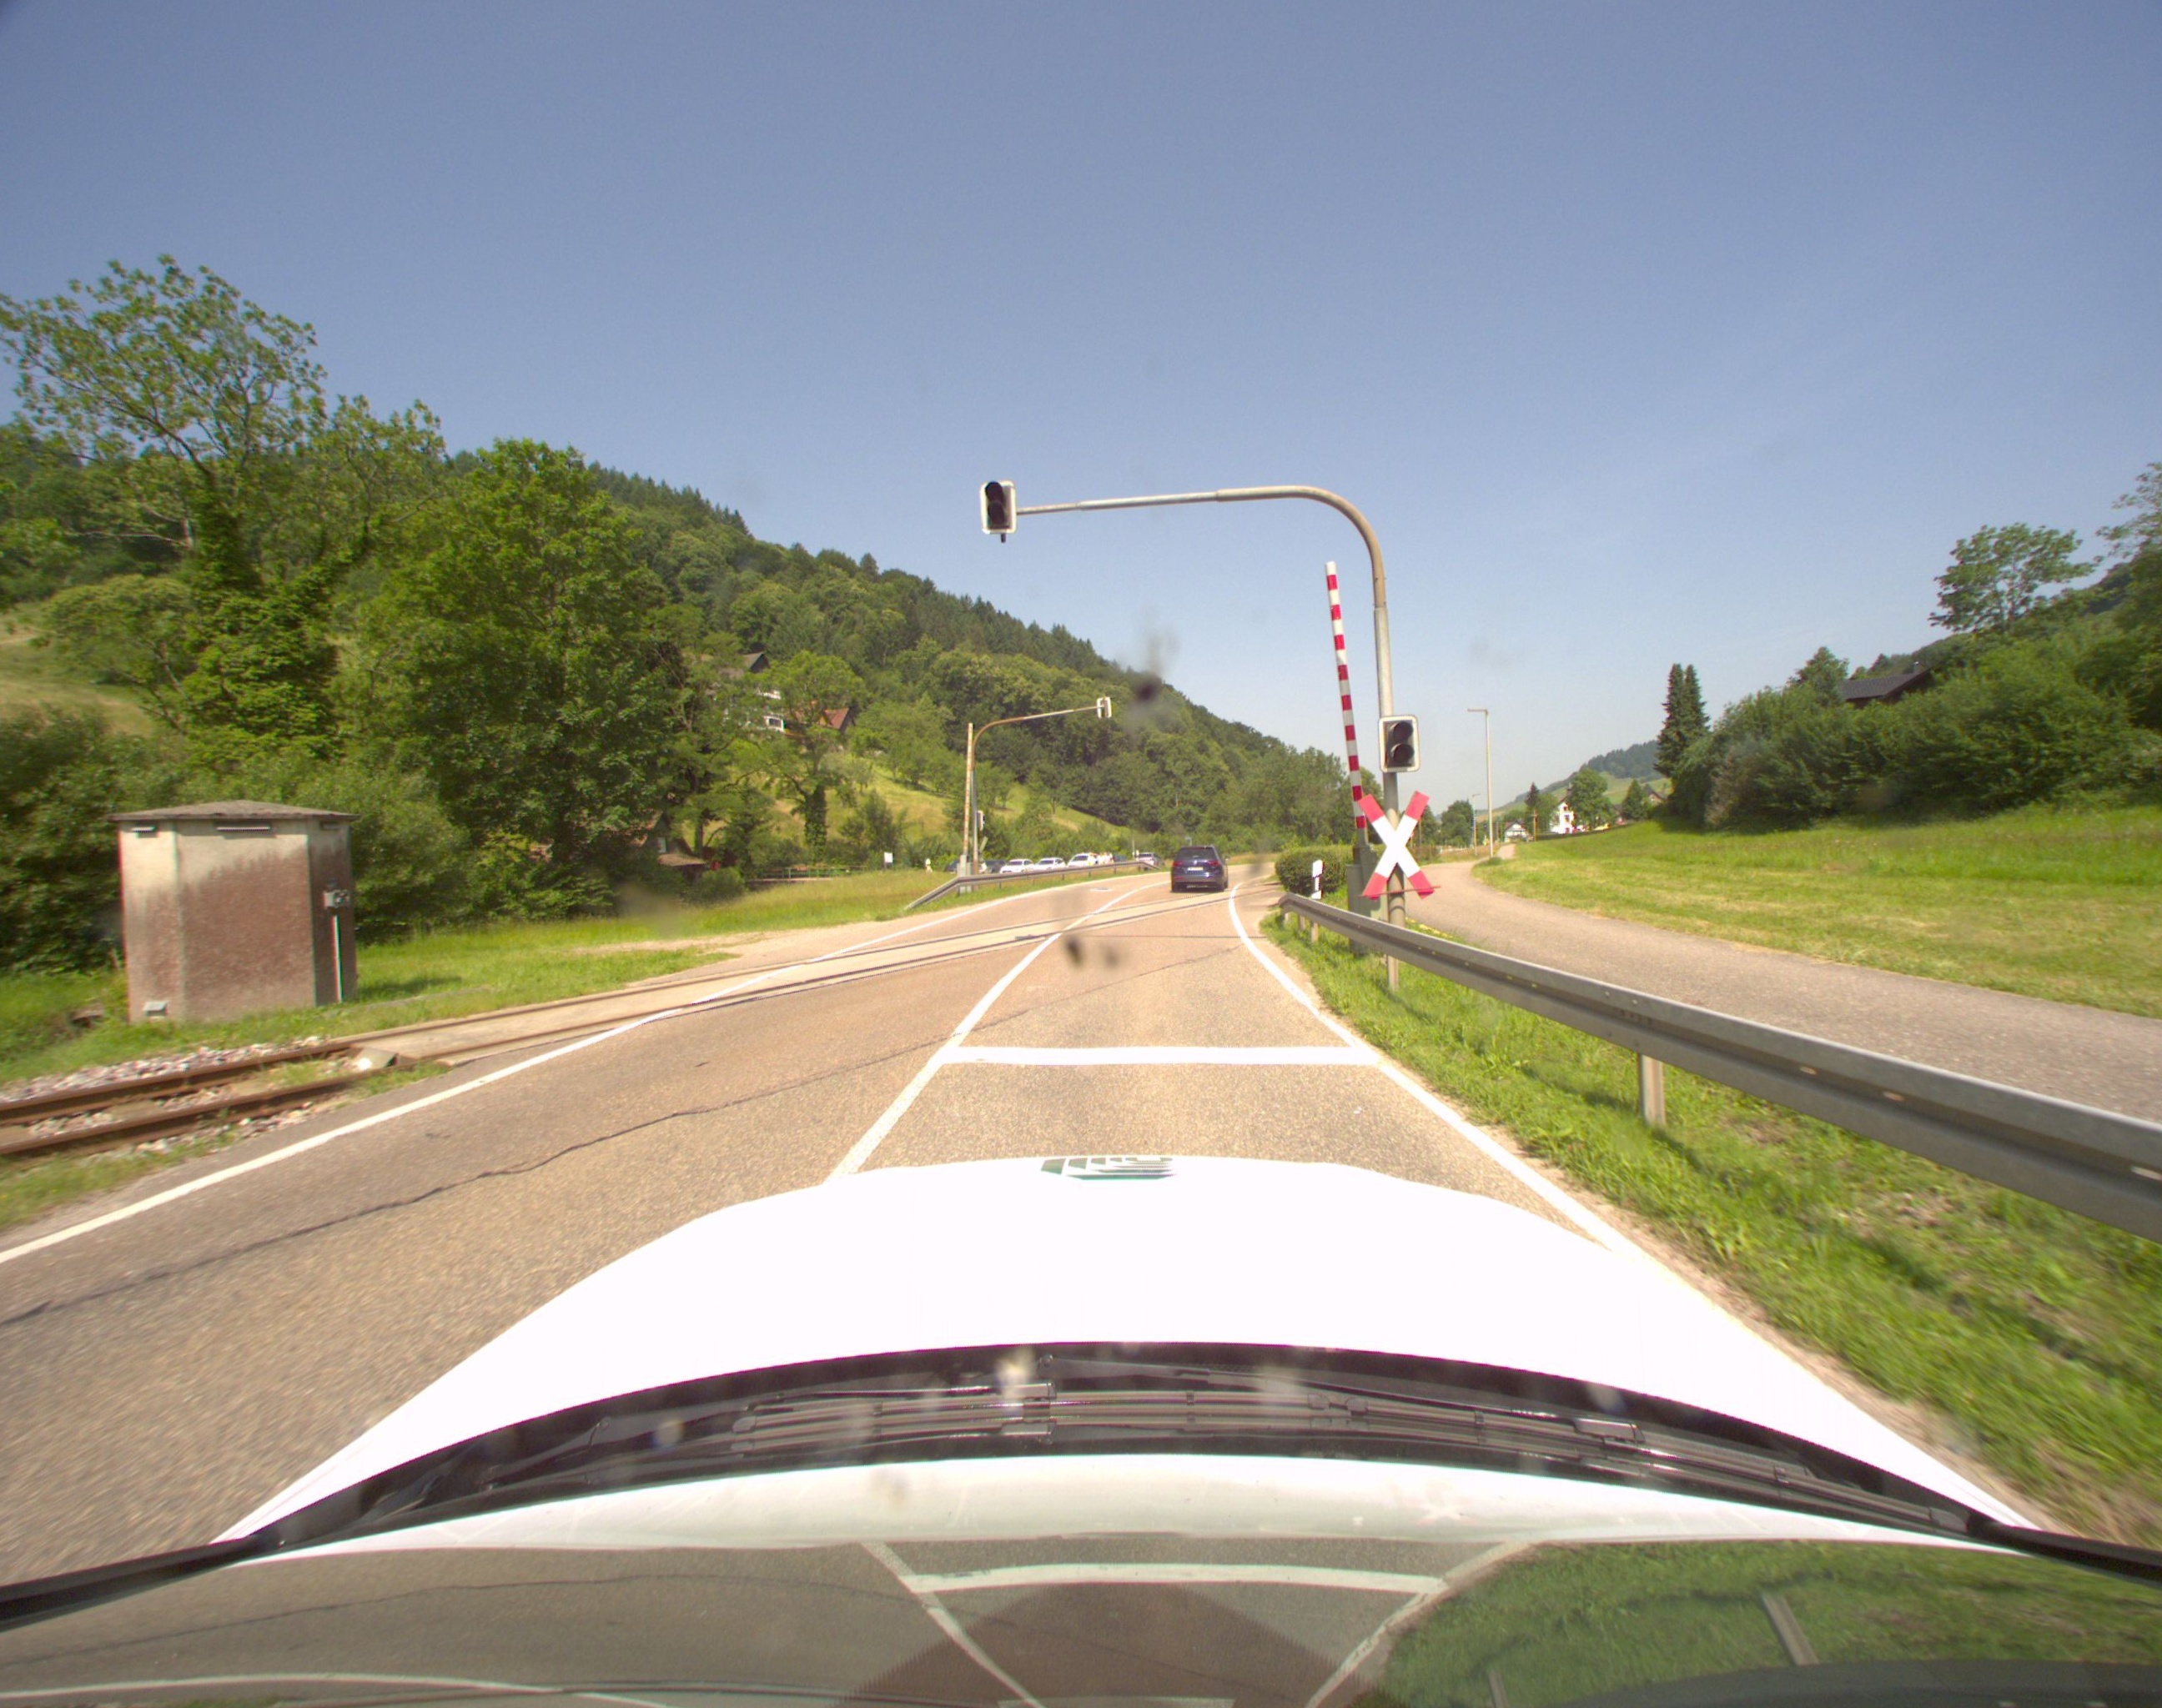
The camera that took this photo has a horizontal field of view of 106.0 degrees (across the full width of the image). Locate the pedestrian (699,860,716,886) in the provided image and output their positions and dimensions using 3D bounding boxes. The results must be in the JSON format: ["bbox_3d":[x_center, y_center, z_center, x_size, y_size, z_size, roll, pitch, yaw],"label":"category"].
[{"bbox_3d":[-30.396,1.534,66.236,0.693,2.014,0.937,-3,-1,19],"label":"pedestrian"}]

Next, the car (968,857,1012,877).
[{"bbox_3d":[-7.475,1.040,67.110,1.978,1.500,4.541,-1,0,16],"label":"car"}]

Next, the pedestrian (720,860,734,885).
[{"bbox_3d":[-29.375,1.505,67.542,0.935,2.014,0.694,-2,-1,-29],"label":"pedestrian"}]

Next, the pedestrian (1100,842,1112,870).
[{"bbox_3d":[1.755,0.111,57.856,0.656,1.955,0.534,-4,-1,8],"label":"pedestrian"}]

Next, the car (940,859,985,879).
[{"bbox_3d":[-9.827,1.228,67.883,1.978,1.500,4.541,-3,-1,16],"label":"car"}]

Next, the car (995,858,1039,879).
[{"bbox_3d":[-5.184,1.159,66.361,1.978,1.500,4.541,-3,-1,16],"label":"car"}]

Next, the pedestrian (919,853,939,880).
[{"bbox_3d":[-11.727,0.965,62.969,1.115,1.969,0.867,-4,-1,33],"label":"pedestrian"}]

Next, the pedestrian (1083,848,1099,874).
[{"bbox_3d":[0.715,0.492,57.731,0.780,1.842,0.703,-3,0,29],"label":"pedestrian"}]

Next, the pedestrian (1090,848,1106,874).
[{"bbox_3d":[1.222,0.477,58.435,0.761,1.796,0.798,-4,-1,45],"label":"pedestrian"}]

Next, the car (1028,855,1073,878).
[{"bbox_3d":[-2.431,0.976,65.990,1.977,1.641,4.925,-3,-1,18],"label":"car"}]

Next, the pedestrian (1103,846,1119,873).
[{"bbox_3d":[2.135,0.399,58.151,0.775,1.859,0.641,-3,-1,-38],"label":"pedestrian"}]

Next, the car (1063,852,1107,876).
[{"bbox_3d":[0.379,0.796,65.593,1.855,1.782,4.797,-2,0,21],"label":"car"}]

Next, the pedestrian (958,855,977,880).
[{"bbox_3d":[-8.505,1.021,60.932,0.947,1.794,1.004,-4,-1,15],"label":"pedestrian"}]

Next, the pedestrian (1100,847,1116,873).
[{"bbox_3d":[1.946,0.456,58.911,0.775,1.840,0.641,-3,-1,-39],"label":"pedestrian"}]

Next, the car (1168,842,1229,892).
[{"bbox_3d":[4.311,0.438,29.352,1.840,1.649,4.154,-1,0,13],"label":"car"}]

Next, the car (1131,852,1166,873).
[{"bbox_3d":[5.206,0.625,62.669,1.812,1.500,4.295,-3,-1,16],"label":"car"}]
